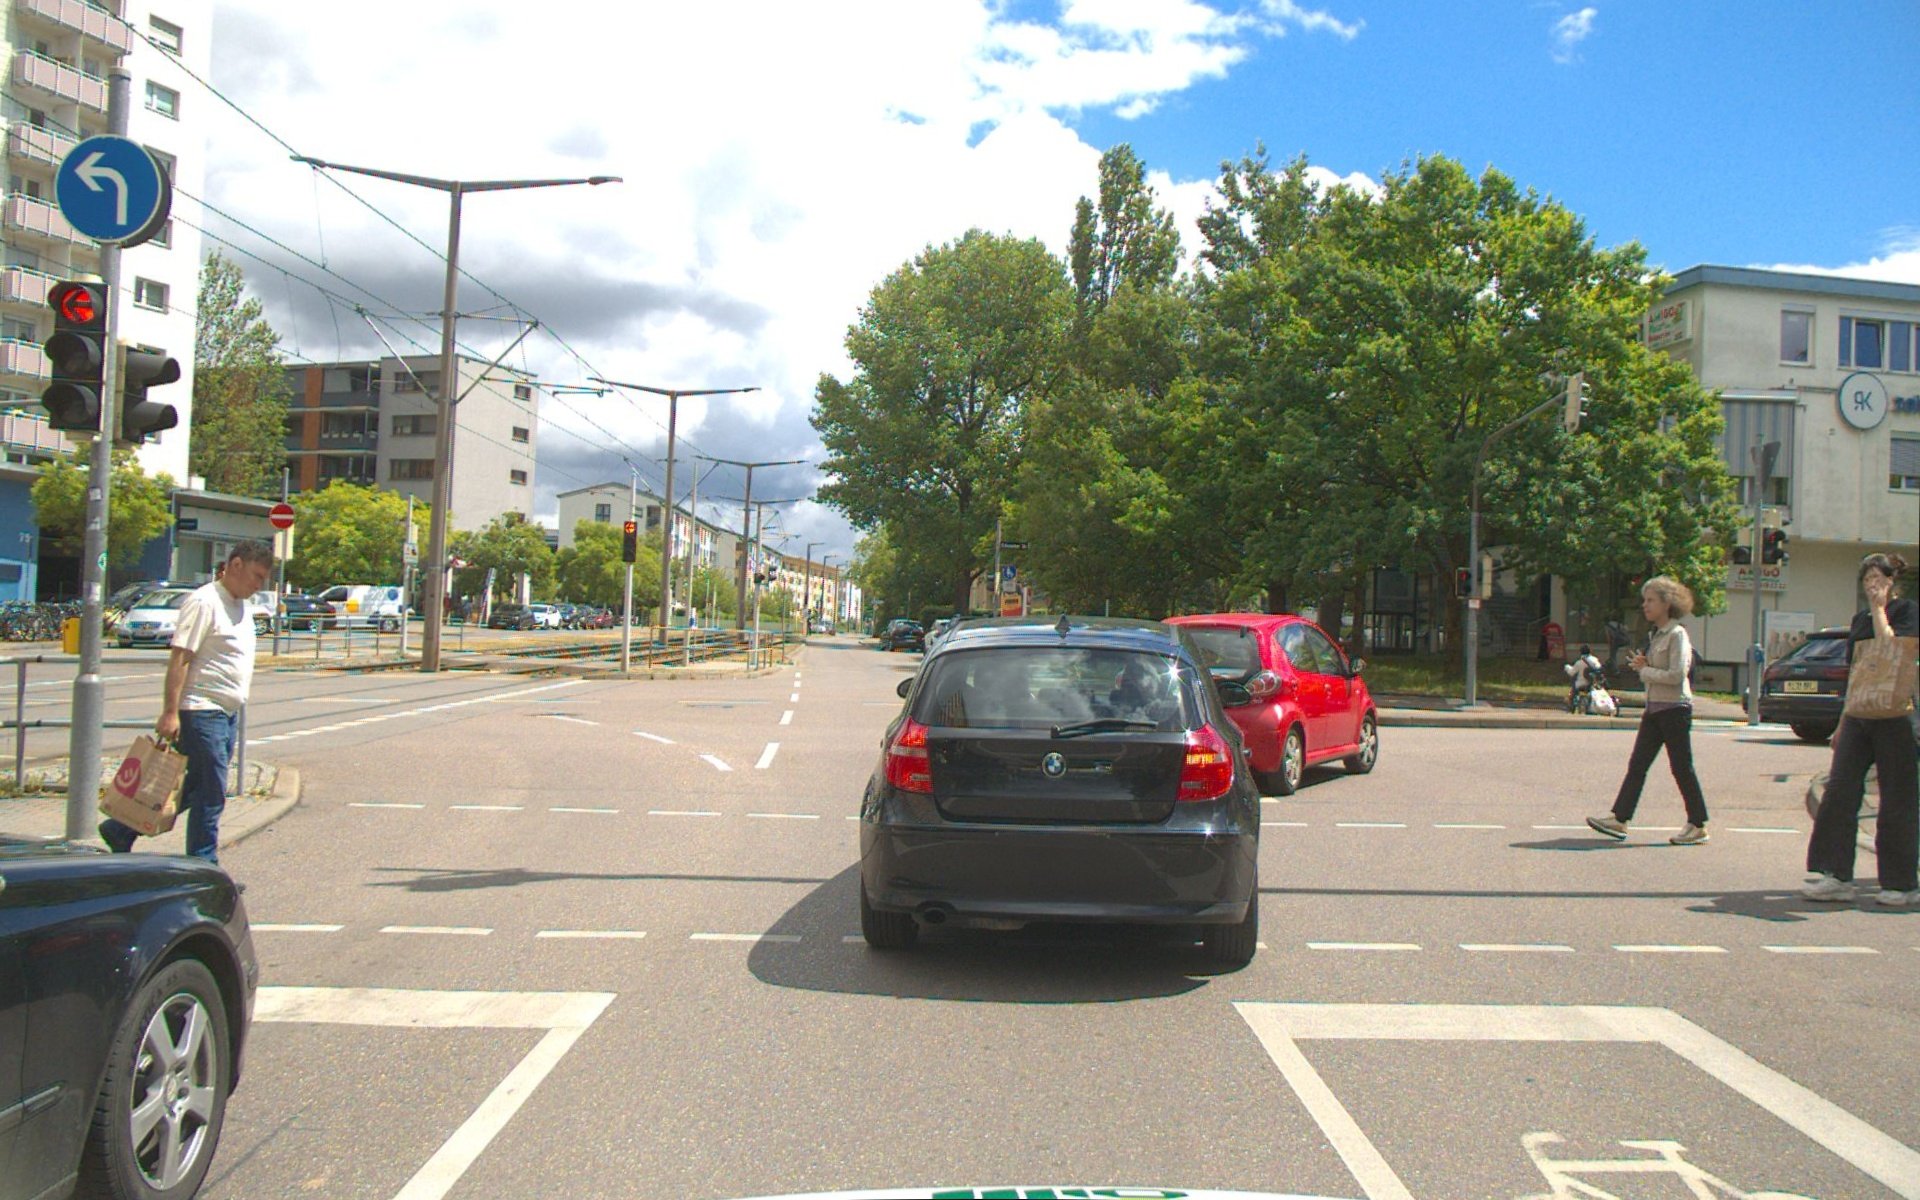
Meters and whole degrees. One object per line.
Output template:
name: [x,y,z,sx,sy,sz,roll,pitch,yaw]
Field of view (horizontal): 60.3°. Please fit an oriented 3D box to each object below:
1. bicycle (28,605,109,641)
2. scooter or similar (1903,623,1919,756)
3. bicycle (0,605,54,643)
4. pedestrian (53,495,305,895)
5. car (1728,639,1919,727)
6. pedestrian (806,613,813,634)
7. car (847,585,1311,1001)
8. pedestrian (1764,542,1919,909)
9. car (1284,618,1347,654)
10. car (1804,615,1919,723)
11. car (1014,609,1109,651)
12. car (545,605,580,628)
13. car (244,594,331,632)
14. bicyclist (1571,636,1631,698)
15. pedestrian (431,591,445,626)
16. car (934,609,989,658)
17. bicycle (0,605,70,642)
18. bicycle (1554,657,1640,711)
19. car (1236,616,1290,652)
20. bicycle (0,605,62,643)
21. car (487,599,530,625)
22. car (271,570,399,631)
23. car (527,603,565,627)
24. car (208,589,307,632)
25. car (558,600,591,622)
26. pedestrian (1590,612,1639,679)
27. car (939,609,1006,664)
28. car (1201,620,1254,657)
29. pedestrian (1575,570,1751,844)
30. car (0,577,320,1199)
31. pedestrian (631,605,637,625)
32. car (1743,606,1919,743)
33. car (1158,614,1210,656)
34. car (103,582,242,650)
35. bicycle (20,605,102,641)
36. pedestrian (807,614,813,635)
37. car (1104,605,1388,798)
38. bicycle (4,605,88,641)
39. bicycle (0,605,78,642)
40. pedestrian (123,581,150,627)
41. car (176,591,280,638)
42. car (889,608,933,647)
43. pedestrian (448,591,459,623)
bicycle: [-24.672,0.628,45.802,1.909,0.951,0.494,1,-1,-7]
scooter or similar: [9.209,0.832,14.897,1.338,1.176,0.539,3,0,-26]
bicycle: [-24.522,0.614,42.714,1.909,0.951,0.494,1,-1,-7]
pedestrian: [-3.767,0.443,8.042,0.851,1.839,0.741,1,0,-5]
car: [17.371,1.609,32.370,3.838,1.583,1.994,1,0,-12]
pedestrian: [-12.034,1.872,131.899,0.469,1.665,0.454,1,0,-2]
car: [0.613,0.721,8.247,1.715,1.513,4.002,1,0,5]
pedestrian: [4.838,0.613,8.581,0.917,1.796,0.770,0,0,-12]
car: [17.078,1.696,79.560,1.698,1.623,3.993,1,0,-8]
car: [17.219,1.183,28.433,4.472,1.747,1.997,1,0,-8]
car: [4.647,1.379,75.730,3.933,1.855,1.766,1,0,-23]
car: [-25.615,1.057,106.706,1.728,1.419,3.994,1,0,-7]
car: [-27.065,0.508,66.499,1.777,1.445,4.148,1,0,-45]
bicyclist: [11.107,1.156,28.681,0.775,1.040,0.636,2,0,-1]
pedestrian: [-26.587,0.444,84.286,0.537,1.746,0.667,1,0,-10]
car: [0.044,1.247,61.605,1.953,1.713,3.999,1,-1,-1]
bicycle: [-24.624,0.617,43.682,1.909,0.951,0.494,1,-1,-7]
bicycle: [11.099,1.449,28.882,0.775,0.833,1.807,2,0,-1]
car: [14.429,1.590,78.999,1.598,1.623,3.997,1,0,-4]
bicycle: [-24.578,0.615,43.178,1.909,0.951,0.494,1,-1,-7]
car: [-25.375,0.670,93.073,1.728,1.419,3.994,1,0,-7]
car: [-27.083,-0.010,71.513,2.810,2.522,6.614,1,0,-44]
car: [-25.160,0.892,100.592,1.728,1.419,3.994,1,0,-7]
car: [-26.867,0.395,63.214,4.144,1.564,1.949,1,0,43]
car: [-25.986,0.703,111.713,1.728,1.419,3.994,1,0,-7]
pedestrian: [16.656,1.148,42.114,0.756,1.672,0.903,2,0,-16]
car: [0.377,1.185,54.162,2.108,1.713,3.999,1,-1,-1]
car: [12.575,1.776,77.862,1.598,1.600,4.029,1,0,-4]
pedestrian: [4.575,0.667,10.828,0.932,1.703,0.871,0,0,14]
car: [-2.584,0.683,2.216,1.693,1.487,4.543,1,0,-1]
pedestrian: [-26.328,1.214,133.574,0.444,1.665,0.480,1,0,-3]
car: [12.333,0.902,20.782,4.440,1.581,1.988,1,-1,-20]
car: [10.429,1.587,77.142,1.598,1.842,4.029,1,0,-4]
car: [-21.287,0.414,44.876,1.897,1.722,3.872,1,0,-1]
bicycle: [-24.620,0.626,45.313,1.909,0.951,0.494,1,-1,-7]
pedestrian: [-11.970,1.937,131.856,0.328,1.656,0.356,1,0,-18]
car: [2.623,0.807,14.646,1.513,1.466,3.191,1,0,29]
bicycle: [-24.674,0.622,44.659,1.909,0.951,0.494,1,-1,-7]
bicycle: [-24.668,0.619,44.157,1.909,0.951,0.494,1,-1,-7]
pedestrian: [-30.128,0.147,60.533,0.755,1.643,0.695,1,0,-17]
car: [-26.553,0.529,59.957,4.144,1.597,1.949,1,0,43]
car: [-2.245,1.258,76.849,1.953,1.713,3.999,1,0,-1]
pedestrian: [-28.293,0.399,92.398,0.537,1.746,0.404,1,0,-11]
